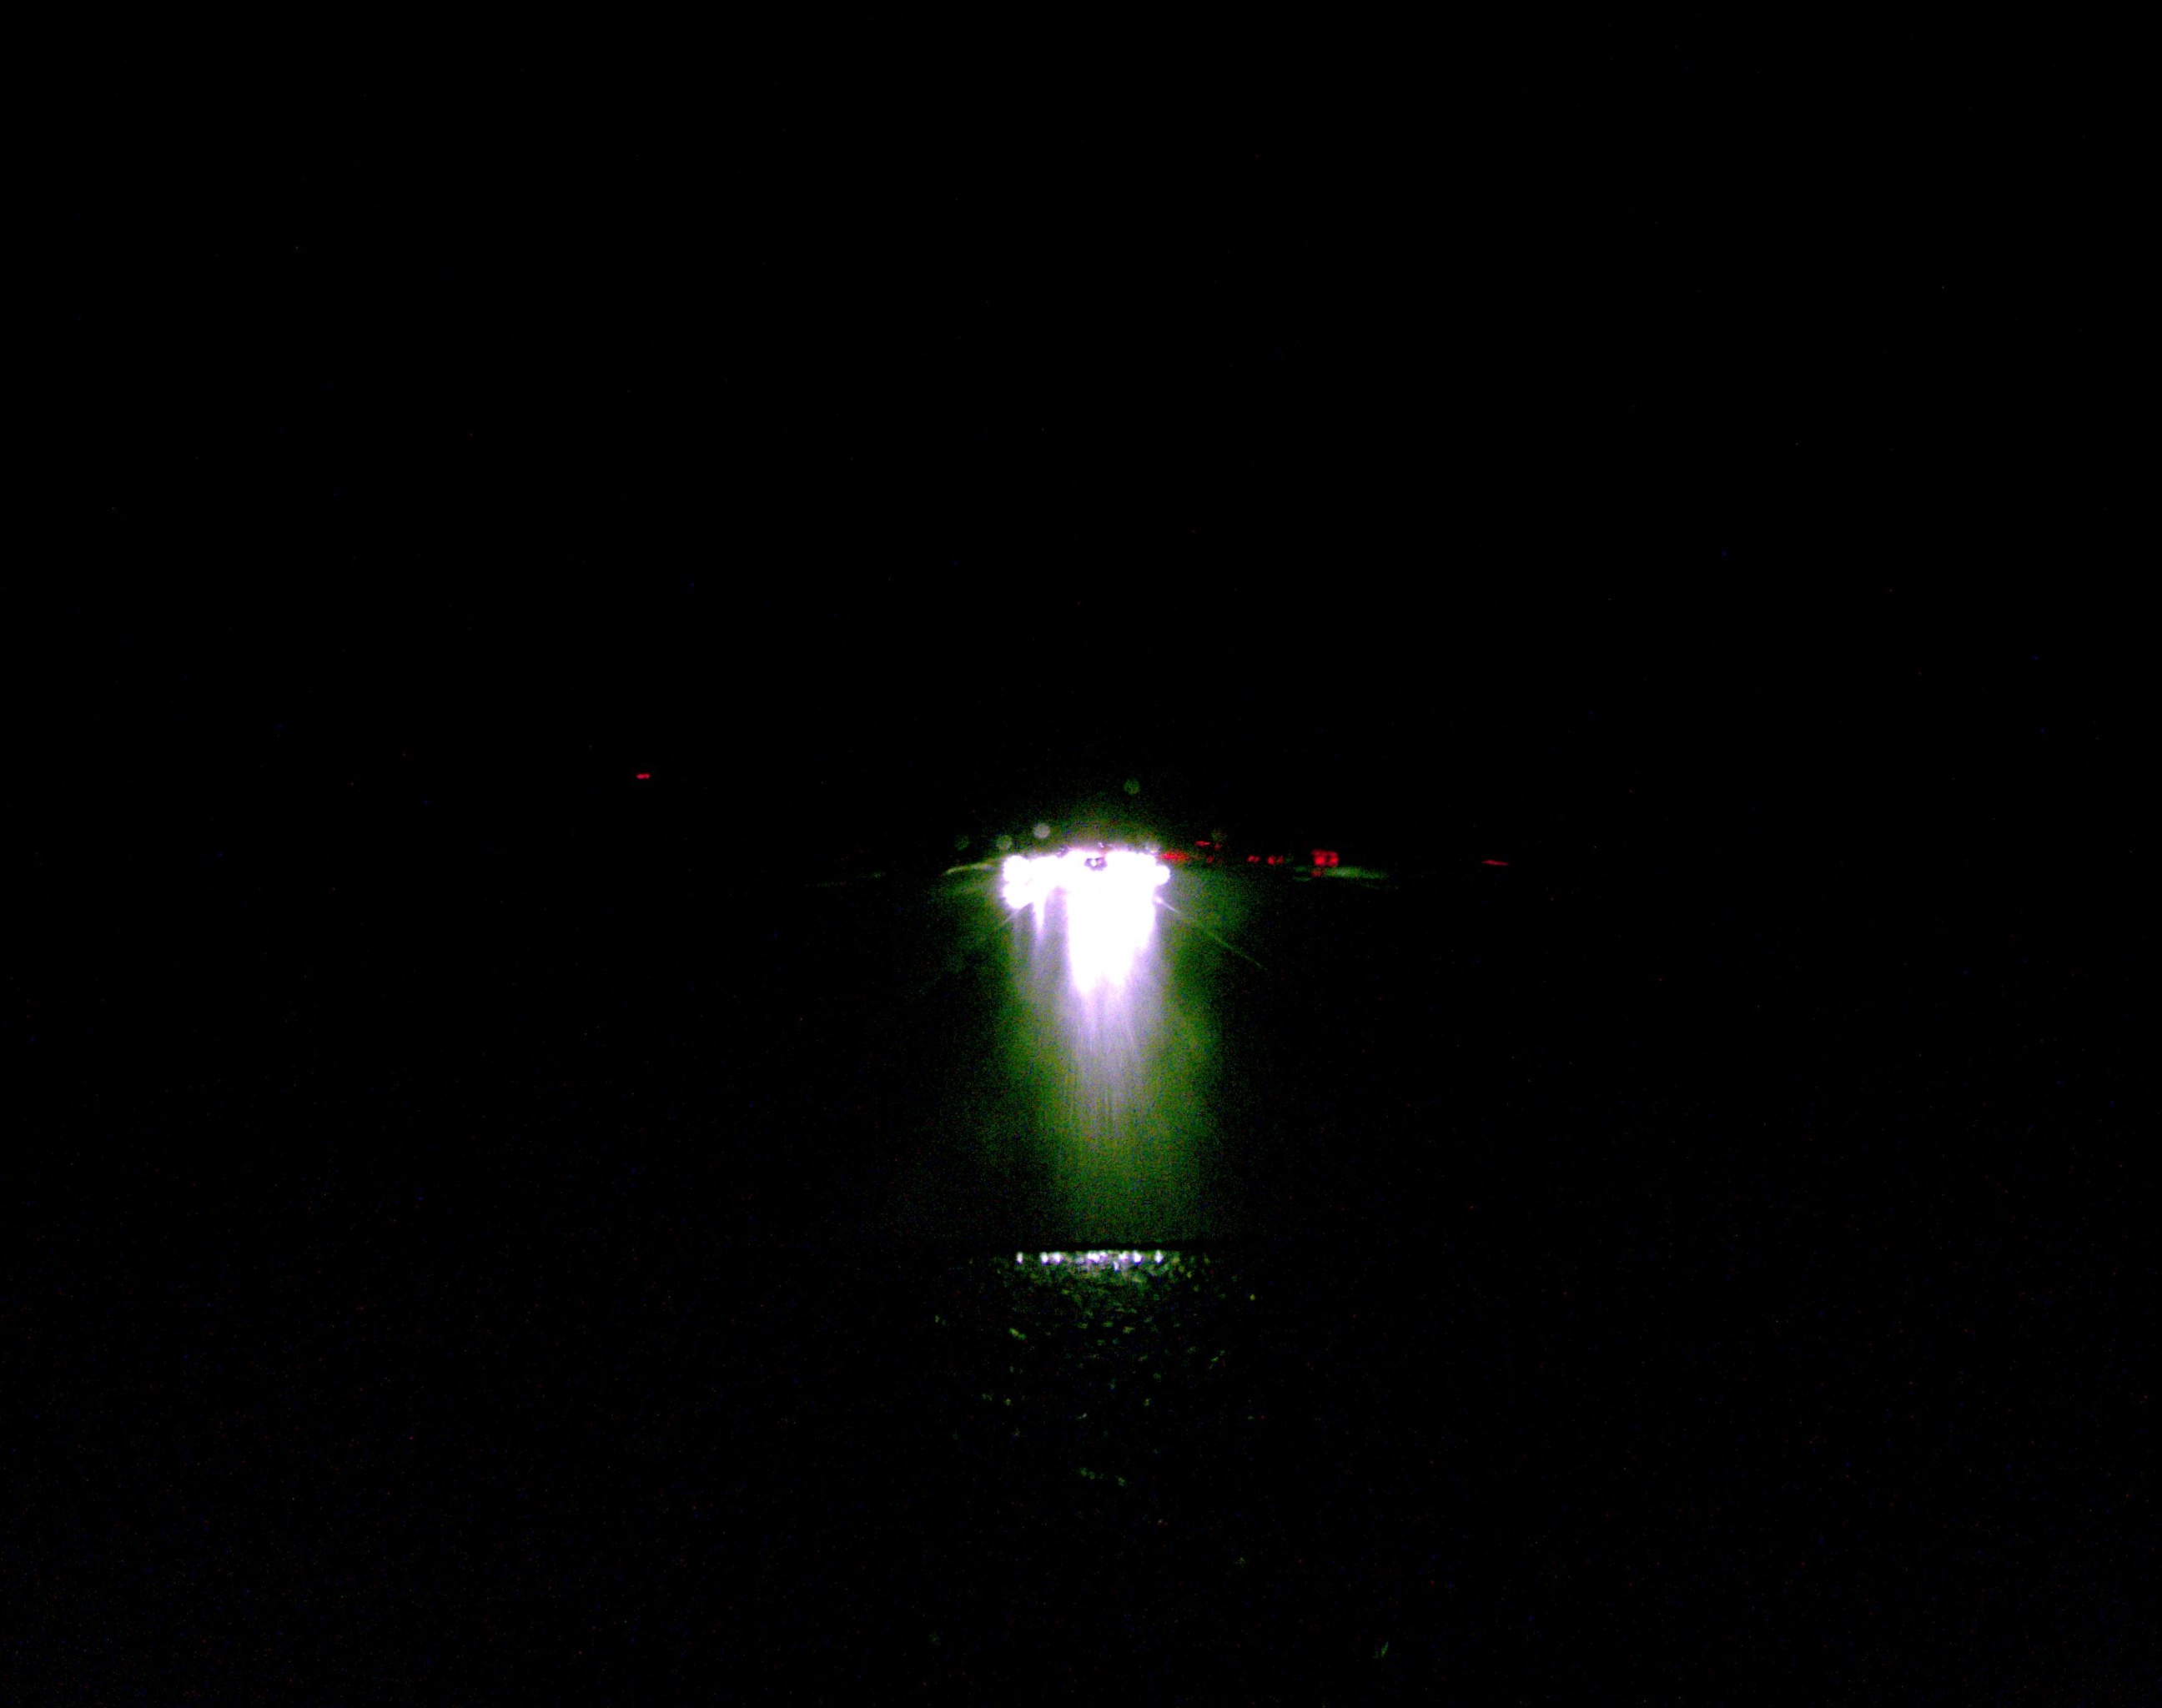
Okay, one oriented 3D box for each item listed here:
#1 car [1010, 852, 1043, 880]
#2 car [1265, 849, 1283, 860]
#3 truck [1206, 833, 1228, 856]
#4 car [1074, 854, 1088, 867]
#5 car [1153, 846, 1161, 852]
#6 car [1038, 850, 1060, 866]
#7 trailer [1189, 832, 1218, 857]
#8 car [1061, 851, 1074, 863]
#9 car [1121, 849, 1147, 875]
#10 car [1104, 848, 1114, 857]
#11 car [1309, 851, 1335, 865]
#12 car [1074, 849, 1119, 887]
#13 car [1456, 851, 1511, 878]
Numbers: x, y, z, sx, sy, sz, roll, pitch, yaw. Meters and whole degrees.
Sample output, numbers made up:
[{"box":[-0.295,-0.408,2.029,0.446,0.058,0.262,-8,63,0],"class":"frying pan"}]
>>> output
[{"box":[-3.609,0.756,50.736,1.792,1.681,3.999,-2,1,1],"class":"car"},{"box":[28.957,0.003,114.149,1.661,1.504,3.999,-2,1,1],"class":"car"},{"box":[34.962,-2.522,195.275,3.247,5.560,12.794,-2,1,1],"class":"truck"},{"box":[-0.012,0.871,98.591,1.755,1.563,3.999,-2,1,1],"class":"car"},{"box":[19.546,-1.279,194.400,1.661,1.504,3.999,-2,1,1],"class":"car"},{"box":[-3.500,0.465,84.216,1.998,1.590,4.652,-2,1,3],"class":"car"},{"box":[26.208,-2.061,163.725,3.798,4.999,14.799,-2,1,1],"class":"trailer"},{"box":[-2.229,0.447,127.512,1.998,1.852,3.999,-2,1,1],"class":"car"},{"box":[3.953,0.598,57.110,1.611,1.775,3.910,-2,1,1],"class":"car"},{"box":[5.525,-0.264,152.050,1.800,1.728,3.999,-2,1,1],"class":"car"},{"box":[28.716,0.442,90.576,1.805,1.564,3.999,-2,1,1],"class":"car"},{"box":[0.744,0.611,36.780,1.960,1.655,4.915,-2,0,1],"class":"car"},{"box":[28.224,0.689,53.443,1.766,1.679,3.999,-2,1,1],"class":"car"}]
